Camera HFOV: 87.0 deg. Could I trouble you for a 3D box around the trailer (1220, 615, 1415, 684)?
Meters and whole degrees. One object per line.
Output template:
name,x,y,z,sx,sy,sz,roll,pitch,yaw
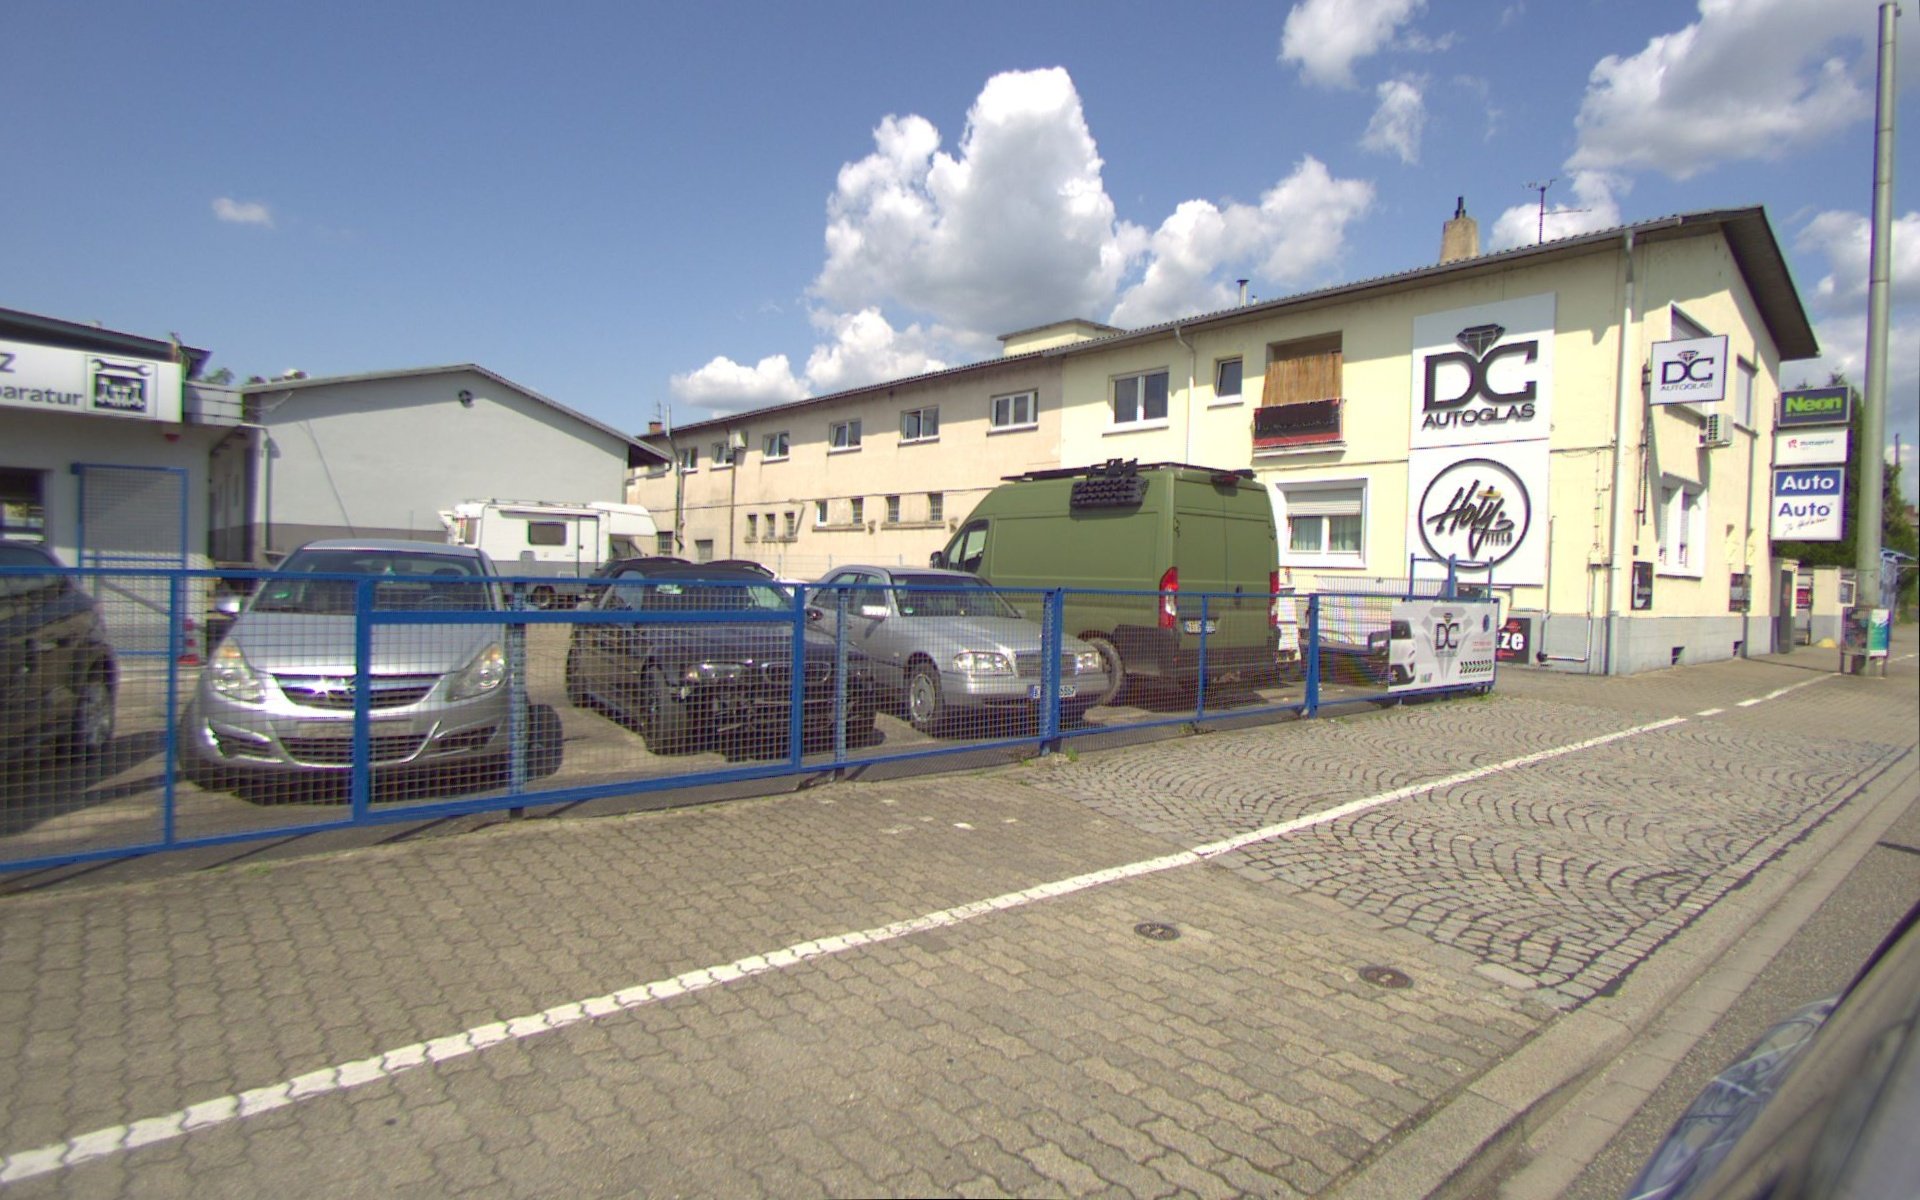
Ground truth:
trailer,5.086,0.669,14.532,1.245,0.776,2.330,0,2,-39

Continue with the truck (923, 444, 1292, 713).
truck,1.610,-0.286,12.134,2.033,2.639,3.996,1,2,-40

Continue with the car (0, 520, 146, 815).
car,-5.743,0.322,5.037,1.685,1.497,4.012,1,2,-25

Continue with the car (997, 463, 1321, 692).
car,2.616,-0.346,14.146,1.771,2.702,4.208,1,2,-40

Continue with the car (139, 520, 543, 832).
car,-3.947,0.300,7.105,1.766,1.497,4.158,1,2,-24

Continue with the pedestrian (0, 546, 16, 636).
pedestrian,-13.255,-0.129,13.844,0.479,1.228,0.501,1,1,-42

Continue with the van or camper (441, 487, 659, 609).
van or camper,-11.004,-1.323,27.371,4.971,2.999,2.284,0,2,-42

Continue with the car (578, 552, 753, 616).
car,-7.476,-0.410,25.892,3.939,1.497,1.719,0,2,-41

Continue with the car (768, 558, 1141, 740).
car,-0.292,0.318,10.208,1.768,1.413,4.216,1,2,-33

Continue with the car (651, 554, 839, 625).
car,-4.936,-0.247,23.539,3.939,1.497,1.719,0,2,-41

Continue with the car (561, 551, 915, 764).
car,-2.121,0.308,8.749,1.768,1.403,3.837,1,2,-32
